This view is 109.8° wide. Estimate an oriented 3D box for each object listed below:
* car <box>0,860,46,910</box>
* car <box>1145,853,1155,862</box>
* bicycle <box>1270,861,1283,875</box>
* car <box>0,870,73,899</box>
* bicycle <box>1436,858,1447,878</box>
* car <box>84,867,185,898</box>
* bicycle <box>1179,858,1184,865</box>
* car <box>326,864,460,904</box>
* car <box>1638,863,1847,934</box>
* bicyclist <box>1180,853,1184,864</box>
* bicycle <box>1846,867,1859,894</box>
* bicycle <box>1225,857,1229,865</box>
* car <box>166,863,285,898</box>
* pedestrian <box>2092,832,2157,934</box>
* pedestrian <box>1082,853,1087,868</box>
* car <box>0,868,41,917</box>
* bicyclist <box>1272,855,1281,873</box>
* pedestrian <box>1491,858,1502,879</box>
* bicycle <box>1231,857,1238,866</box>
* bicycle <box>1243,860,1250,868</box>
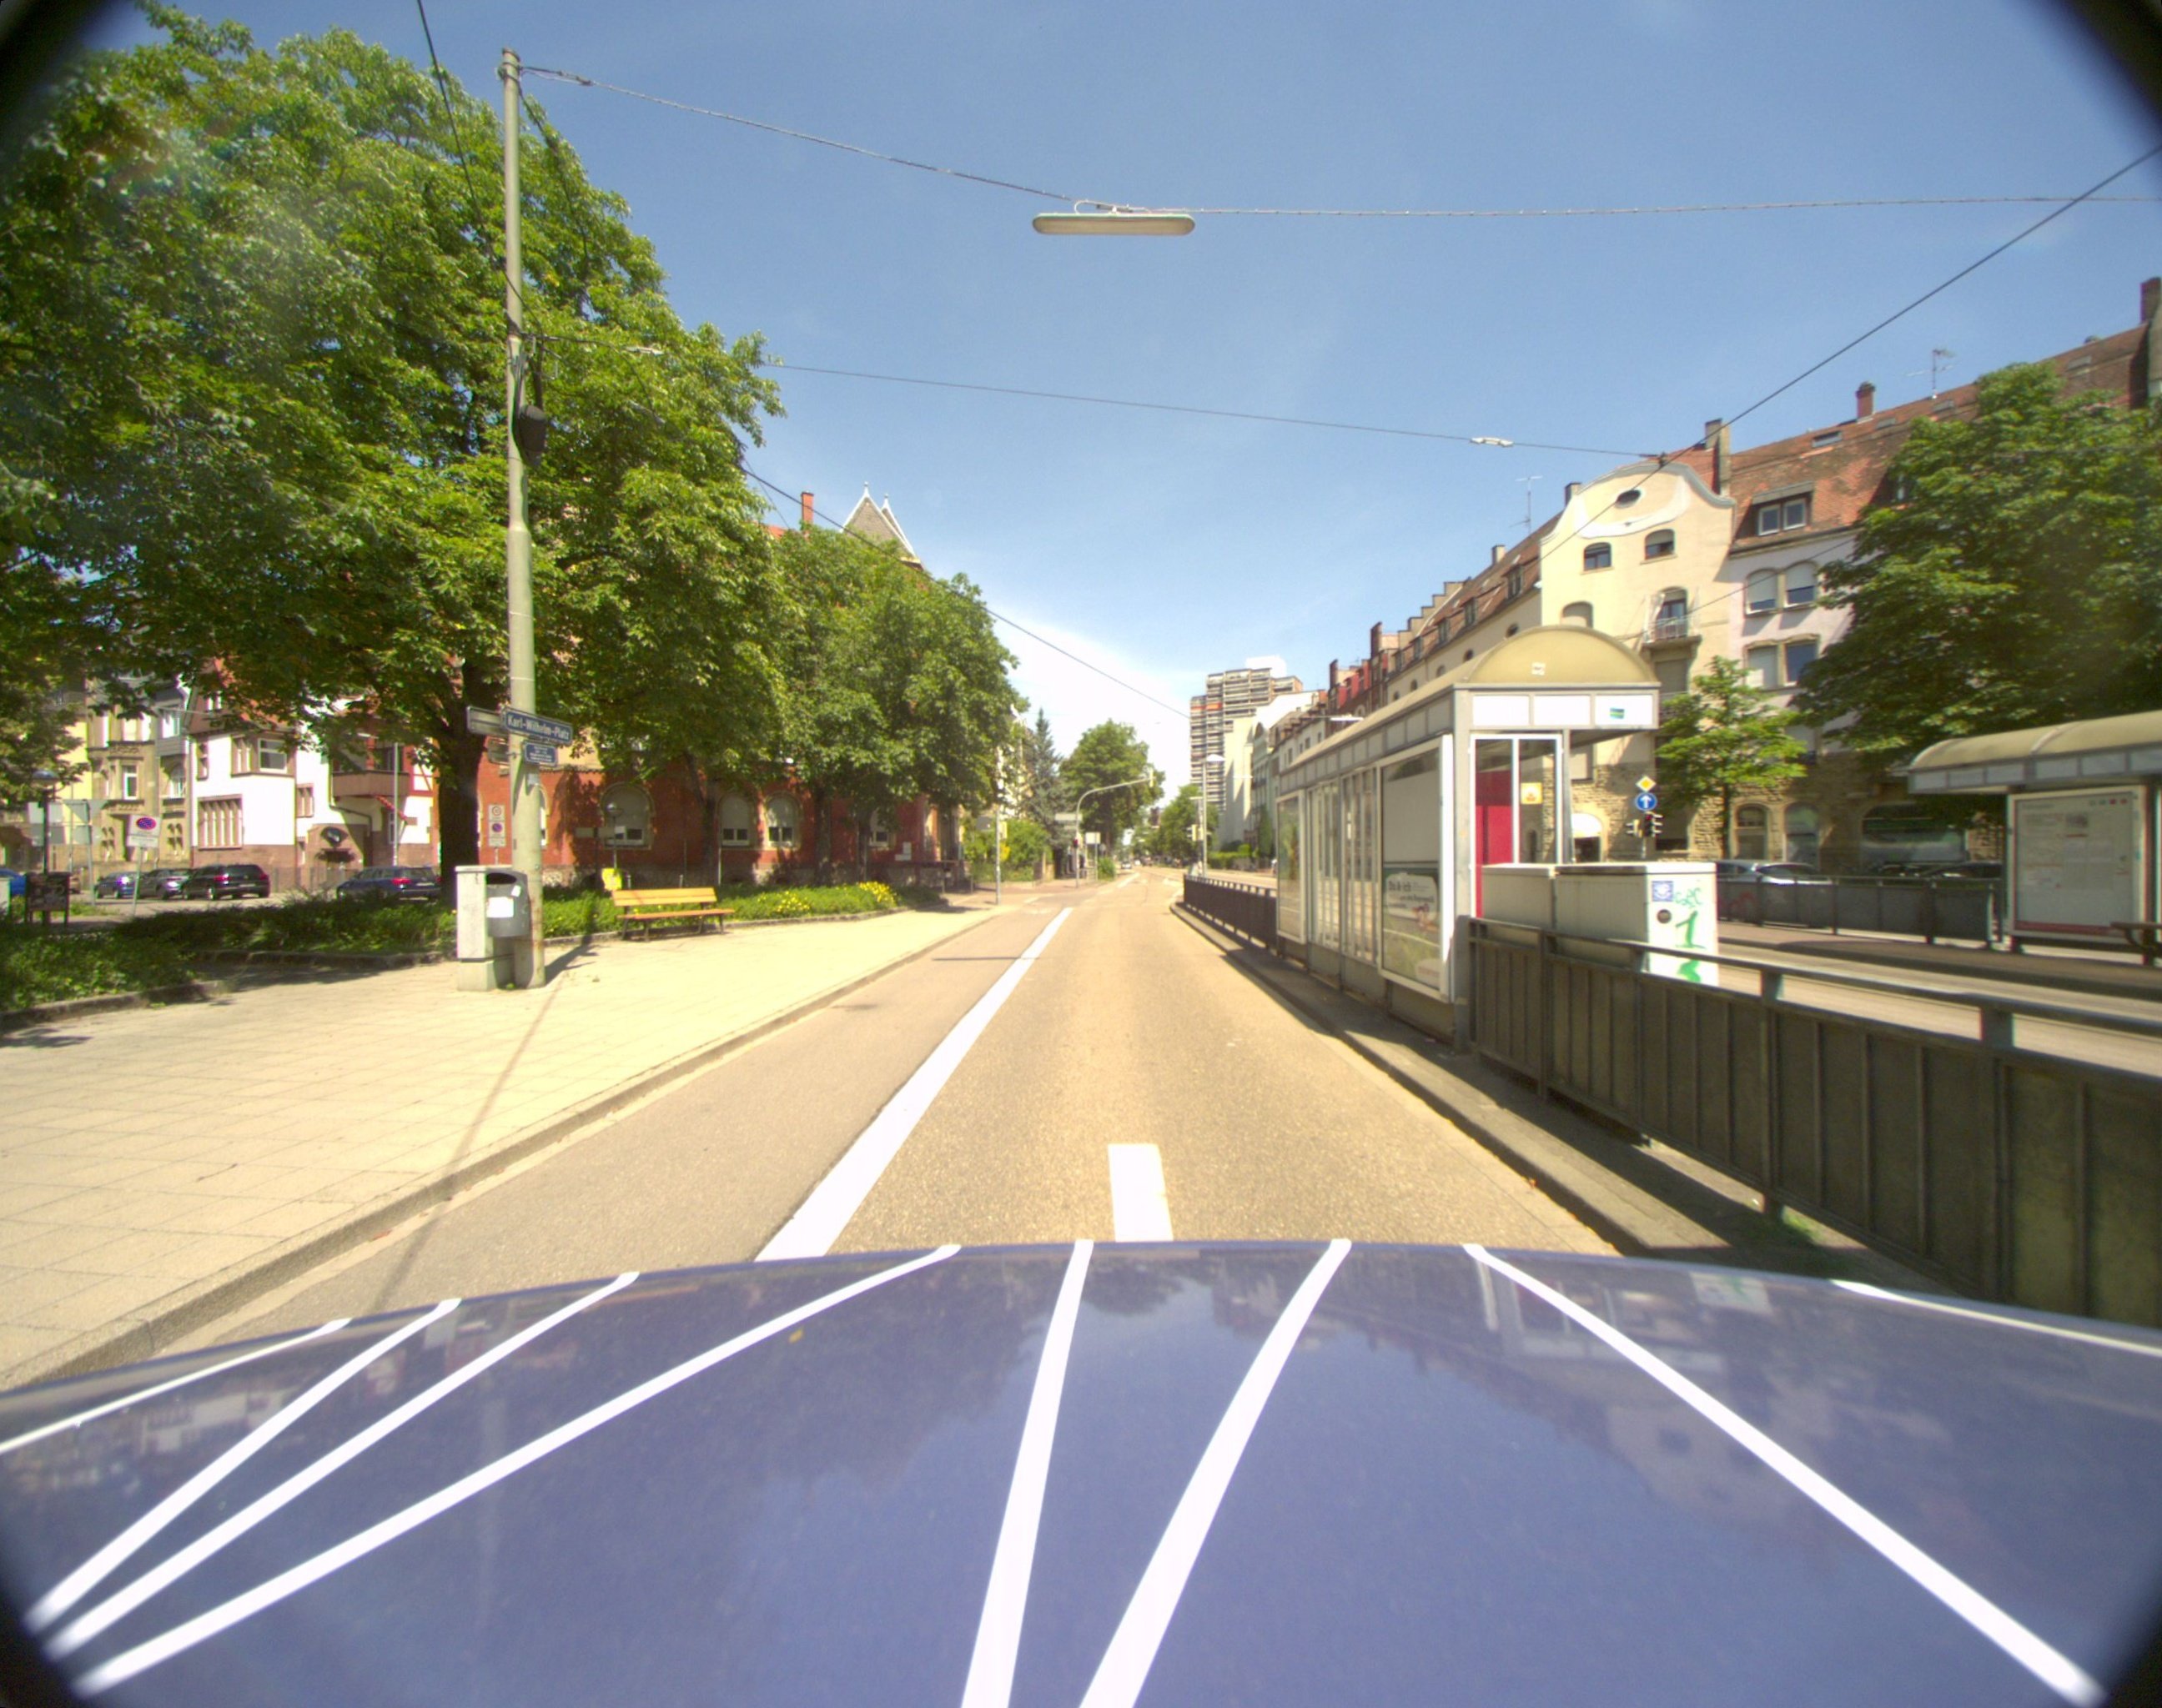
[{"bbox_3d":[-37.112,1.032,24.391,1.723,1.642,4.273,-1,-1,20],"label":"car"},{"bbox_3d":[15.457,0.764,170.323,1.848,1.926,4.823,1,0,2],"label":"car"},{"bbox_3d":[16.772,1.219,65.146,0.629,1.150,1.978,-1,0,1],"label":"bicycle"},{"bbox_3d":[-59.591,1.716,42.952,4.391,1.547,1.908,-1,1,21],"label":"car"},{"bbox_3d":[22.905,0.901,48.310,0.454,1.218,2.083,-1,1,21],"label":"bicycle"},{"bbox_3d":[-49.210,1.479,39.488,4.605,1.456,1.908,-1,1,21],"label":"car"},{"bbox_3d":[16.380,1.188,123.638,0.645,1.068,2.187,0,0,1],"label":"bicycle"},{"bbox_3d":[-27.179,1.160,30.027,4.748,1.433,1.908,-1,1,21],"label":"car"},{"bbox_3d":[14.818,0.931,17.311,1.544,1.331,3.718,-1,1,0],"label":"car"},{"bbox_3d":[16.369,0.726,123.487,0.611,1.653,0.579,0,0,1],"label":"bicyclist"},{"bbox_3d":[29.469,0.995,29.016,0.289,0.968,1.676,0,1,44],"label":"bicycle"},{"bbox_3d":[19.386,0.882,100.869,0.290,1.040,1.900,-1,0,1],"label":"bicycle"},{"bbox_3d":[-39.983,1.224,35.497,5.477,1.523,1.991,-1,1,23],"label":"car"},{"bbox_3d":[19.367,0.532,14.114,0.511,1.868,0.494,-1,1,6],"label":"pedestrian"},{"bbox_3d":[0.386,0.773,91.095,0.547,1.683,0.755,0,1,1],"label":"pedestrian"},{"bbox_3d":[-32.906,1.126,21.421,1.723,1.421,3.895,-1,-1,20],"label":"car"},{"bbox_3d":[16.770,0.871,65.218,0.609,1.565,0.585,-1,1,1],"label":"bicyclist"},{"bbox_3d":[23.113,0.796,42.281,0.406,1.142,0.405,-1,1,-2],"label":"pedestrian"},{"bbox_3d":[19.408,0.921,96.066,0.493,1.090,2.047,-1,0,1],"label":"bicycle"},{"bbox_3d":[19.047,1.111,87.393,0.463,0.943,1.954,-1,0,1],"label":"bicycle"}]
